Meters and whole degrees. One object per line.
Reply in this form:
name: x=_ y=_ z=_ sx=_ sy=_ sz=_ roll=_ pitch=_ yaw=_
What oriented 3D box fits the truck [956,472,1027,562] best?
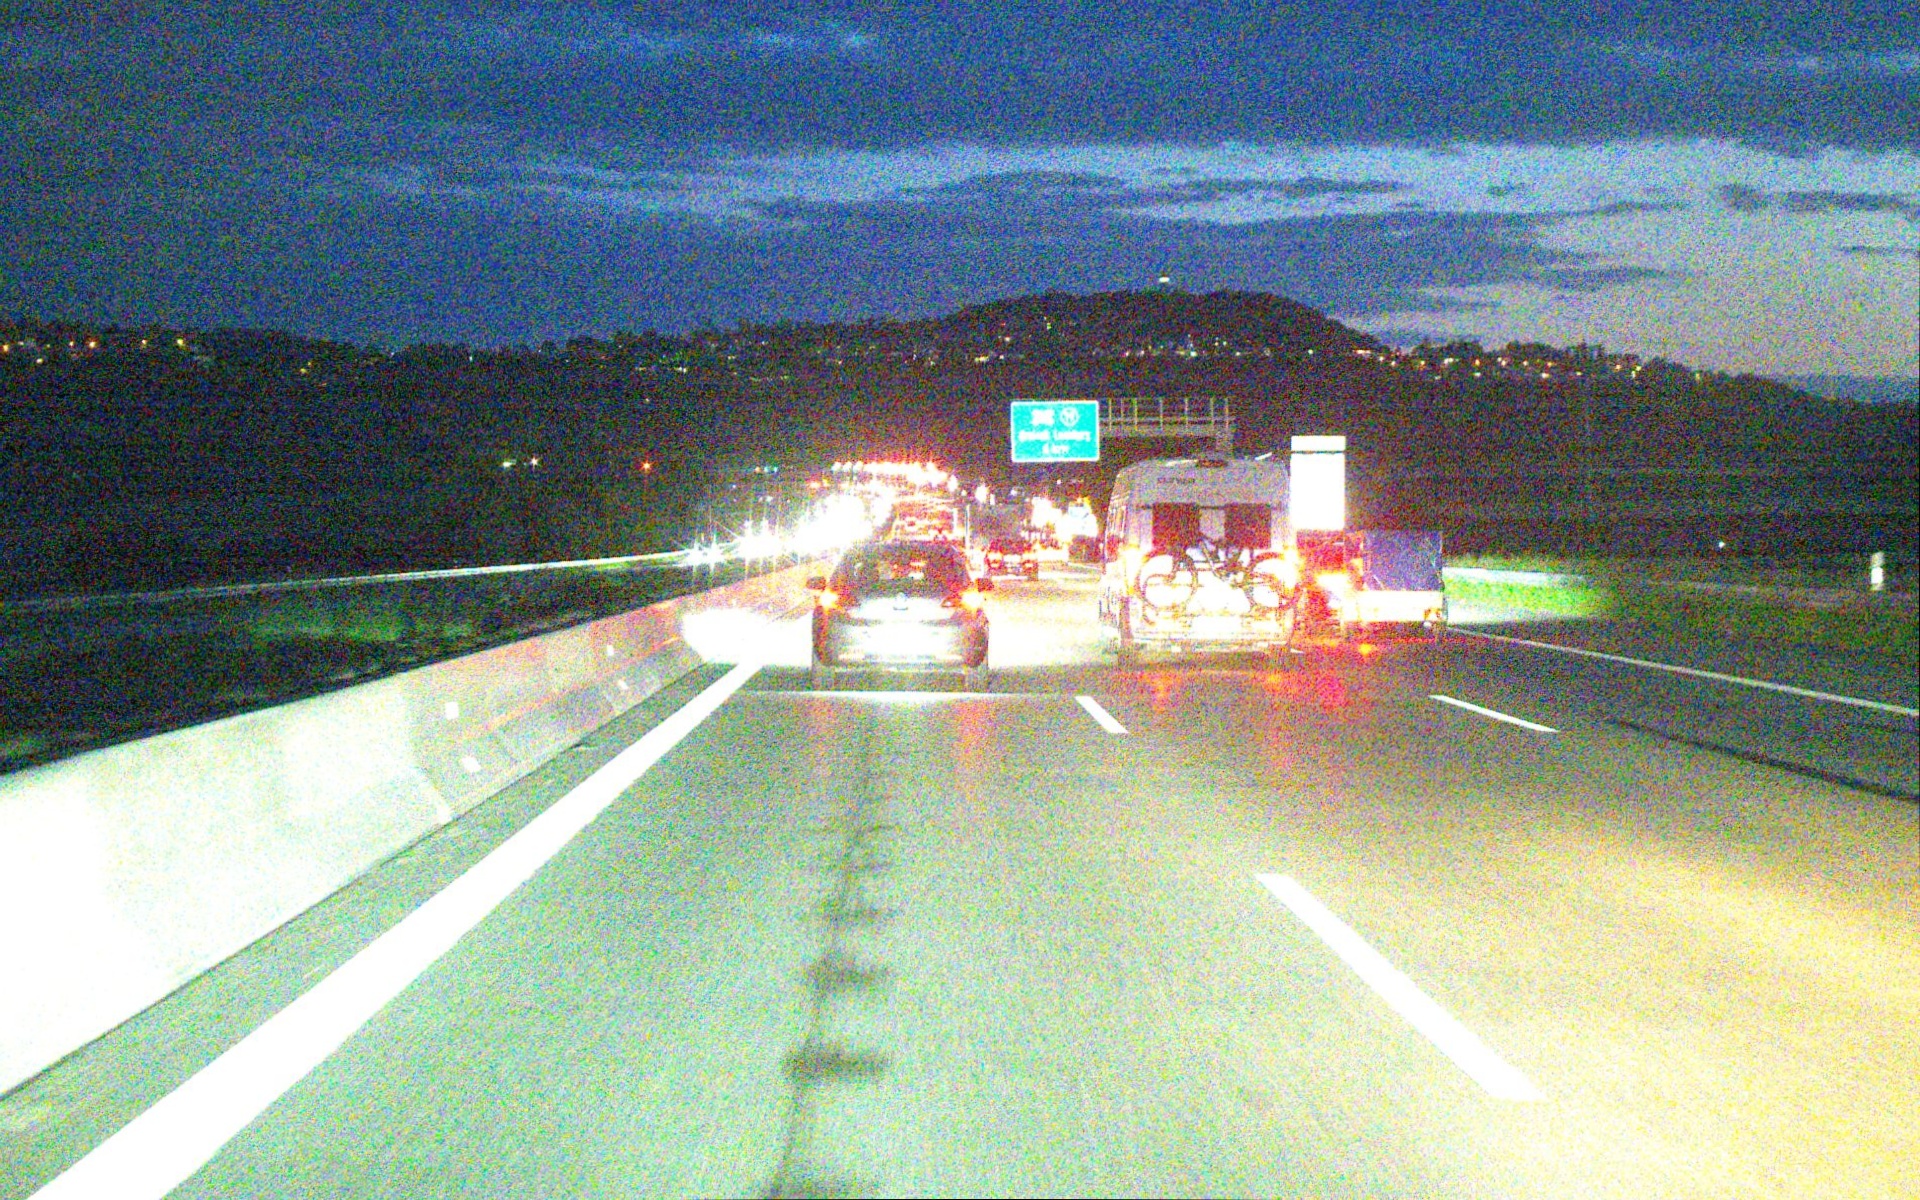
truck: x=1.393 y=-3.763 z=156.898 sx=2.781 sy=3.942 sz=7.994 roll=-1 pitch=1 yaw=-2

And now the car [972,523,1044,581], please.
car: x=1.633 y=-1.664 z=118.532 sx=2.351 sy=1.907 sz=4.723 roll=-1 pitch=1 yaw=0

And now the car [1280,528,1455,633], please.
car: x=6.376 y=-0.348 z=54.266 sx=2.163 sy=1.558 sz=4.723 roll=0 pitch=1 yaw=0

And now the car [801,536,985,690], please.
car: x=-0.664 y=0.093 z=35.409 sx=1.793 sy=1.464 sz=3.773 roll=0 pitch=2 yaw=0

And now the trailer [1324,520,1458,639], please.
trailer: x=6.325 y=-0.322 z=50.652 sx=1.566 sy=1.687 sz=2.821 roll=-1 pitch=1 yaw=-1

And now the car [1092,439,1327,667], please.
car: x=2.929 y=-0.611 z=41.647 sx=2.351 sy=2.526 sz=5.701 roll=-1 pitch=2 yaw=0

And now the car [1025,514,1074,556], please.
car: x=4.667 y=-3.409 z=179.848 sx=2.351 sy=2.068 sz=4.723 roll=-1 pitch=2 yaw=0

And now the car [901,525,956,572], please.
car: x=-1.013 y=-1.687 z=112.505 sx=1.744 sy=1.435 sz=4.368 roll=-1 pitch=2 yaw=0
